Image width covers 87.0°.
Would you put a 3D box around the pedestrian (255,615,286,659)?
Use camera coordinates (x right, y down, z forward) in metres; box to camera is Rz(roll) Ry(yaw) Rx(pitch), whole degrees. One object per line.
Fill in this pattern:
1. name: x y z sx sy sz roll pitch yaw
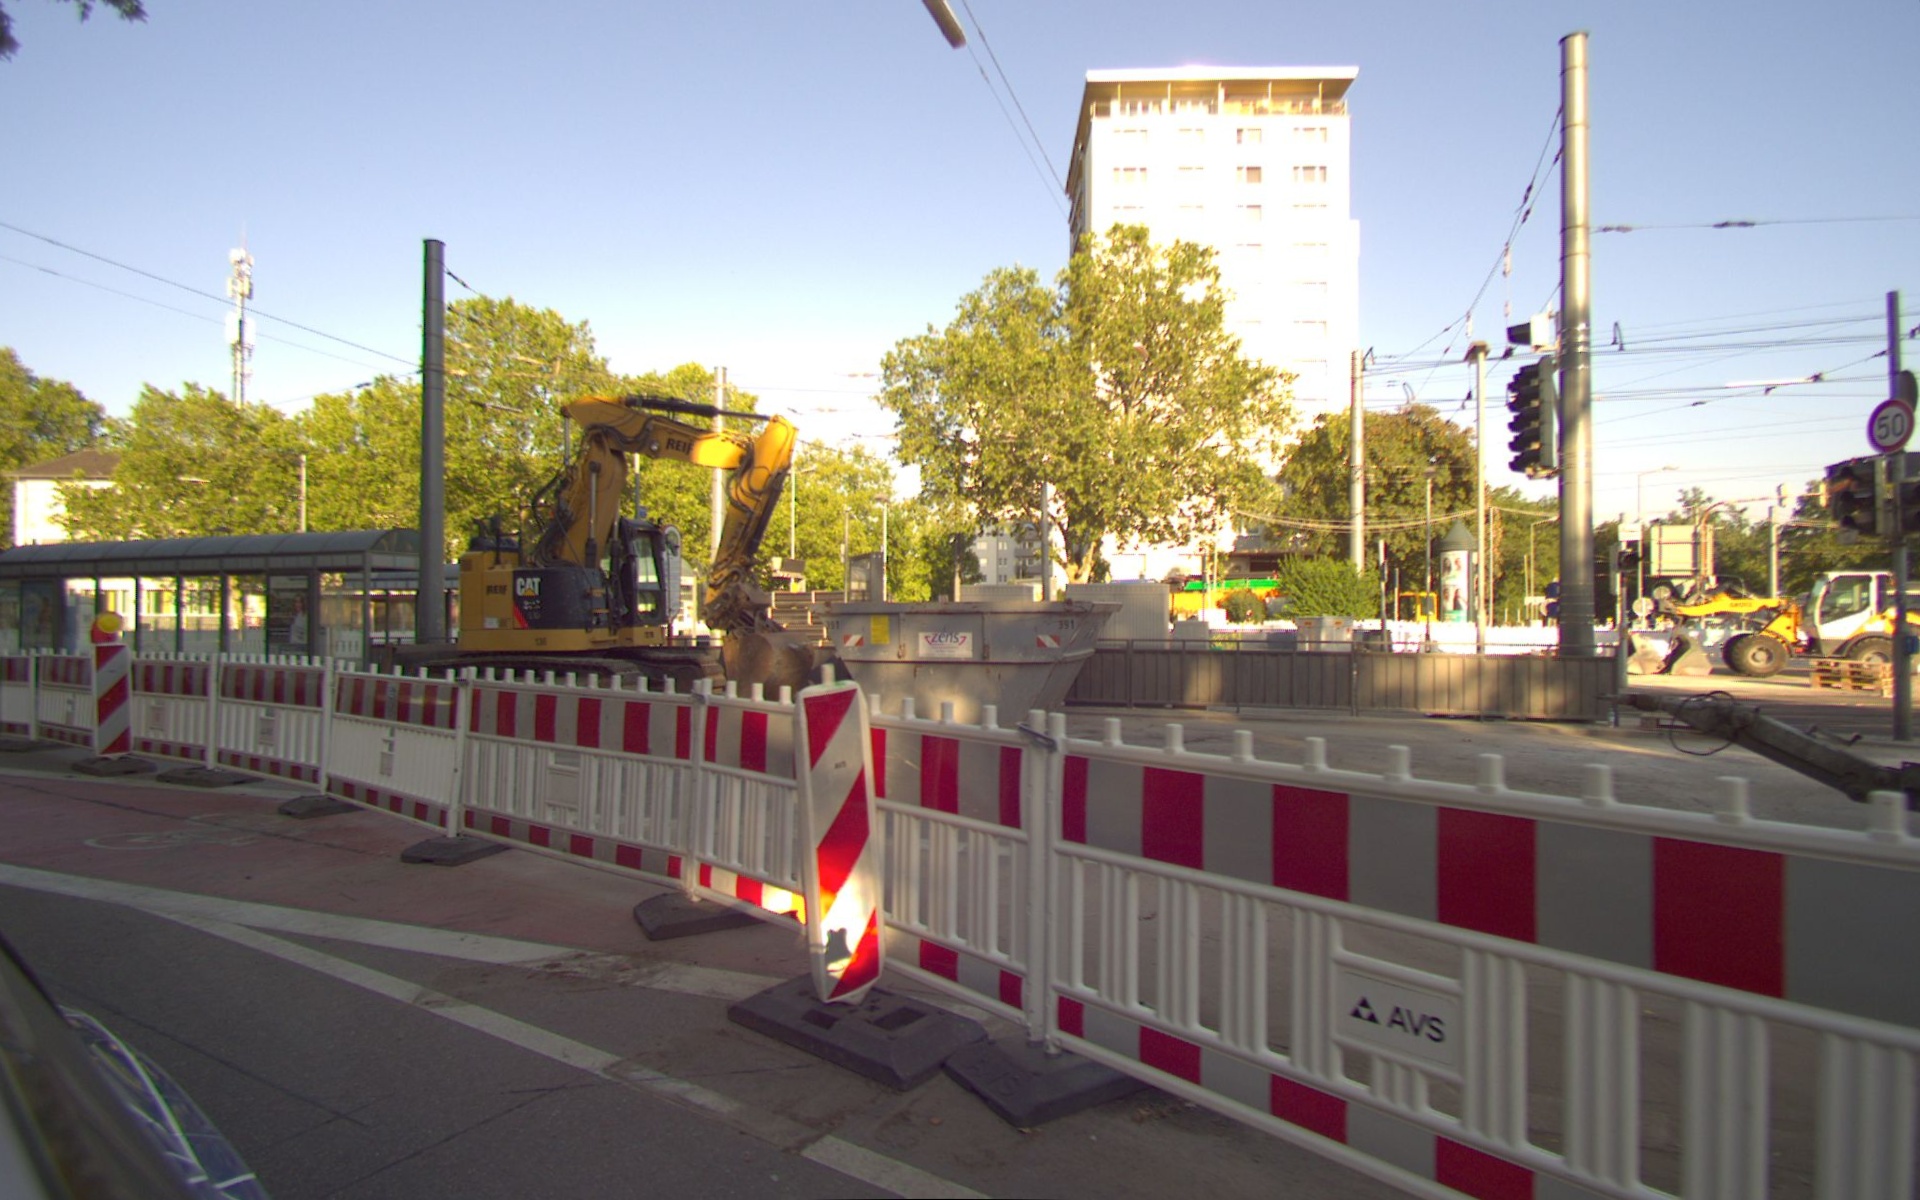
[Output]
1. pedestrian: -32.172 1.697 47.242 0.879 2.029 0.879 -1 -1 26

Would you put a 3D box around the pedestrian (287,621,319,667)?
1. pedestrian: -29.647 1.961 45.642 0.878 2.029 0.880 -1 -1 25

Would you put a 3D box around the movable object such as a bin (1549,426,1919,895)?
1. movable object such as a bin: 6.023 0.261 4.773 1.968 2.273 5.217 -1 0 -39

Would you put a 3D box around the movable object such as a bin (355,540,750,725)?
1. movable object such as a bin: -5.892 0.460 14.856 4.862 2.335 2.636 -1 -1 18

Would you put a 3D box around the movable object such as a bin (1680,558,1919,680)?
1. movable object such as a bin: 19.993 0.461 23.812 4.574 2.659 2.139 -1 -2 26
